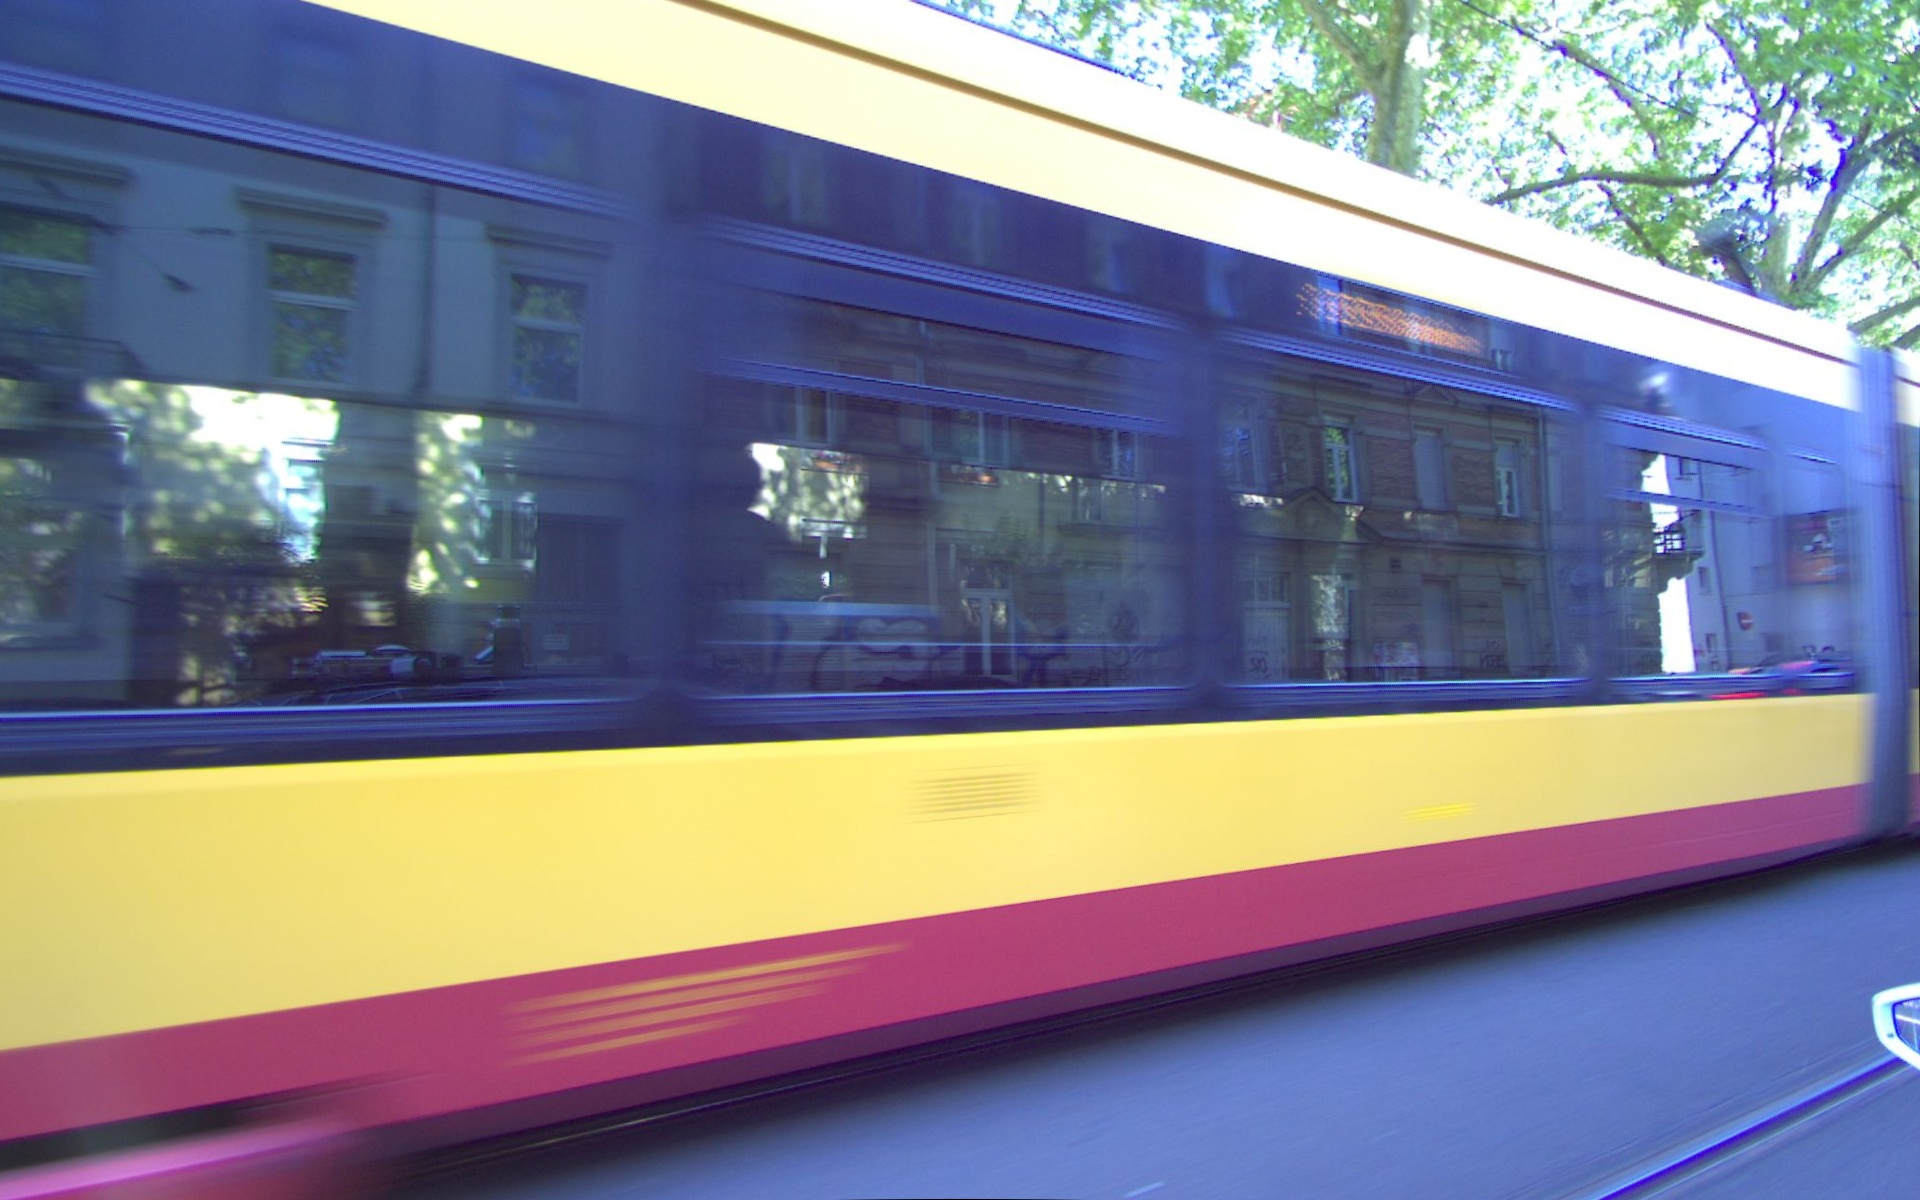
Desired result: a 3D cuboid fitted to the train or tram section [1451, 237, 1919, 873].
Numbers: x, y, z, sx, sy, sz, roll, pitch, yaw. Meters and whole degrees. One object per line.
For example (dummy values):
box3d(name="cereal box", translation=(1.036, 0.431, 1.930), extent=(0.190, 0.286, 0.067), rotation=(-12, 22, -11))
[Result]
box3d(name="train or tram section", translation=(9.684, -0.115, 9.760), extent=(11.121, 3.667, 2.924), rotation=(2, 0, -29))

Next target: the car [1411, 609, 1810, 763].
box3d(name="car", translation=(12.562, 1.472, 20.139), extent=(1.975, 2.440, 6.573), rotation=(0, 0, -29))

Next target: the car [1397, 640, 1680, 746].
box3d(name="car", translation=(10.483, 1.601, 18.511), extent=(1.883, 1.517, 4.124), rotation=(2, 0, -30))

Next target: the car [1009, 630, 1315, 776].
box3d(name="car", translation=(2.489, 1.208, 13.403), extent=(1.846, 1.465, 4.040), rotation=(0, 0, -29))

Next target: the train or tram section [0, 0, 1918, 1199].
box3d(name="train or tram section", translation=(-0.650, -0.363, 4.038), extent=(12.259, 3.667, 2.924), rotation=(2, 0, -29))
